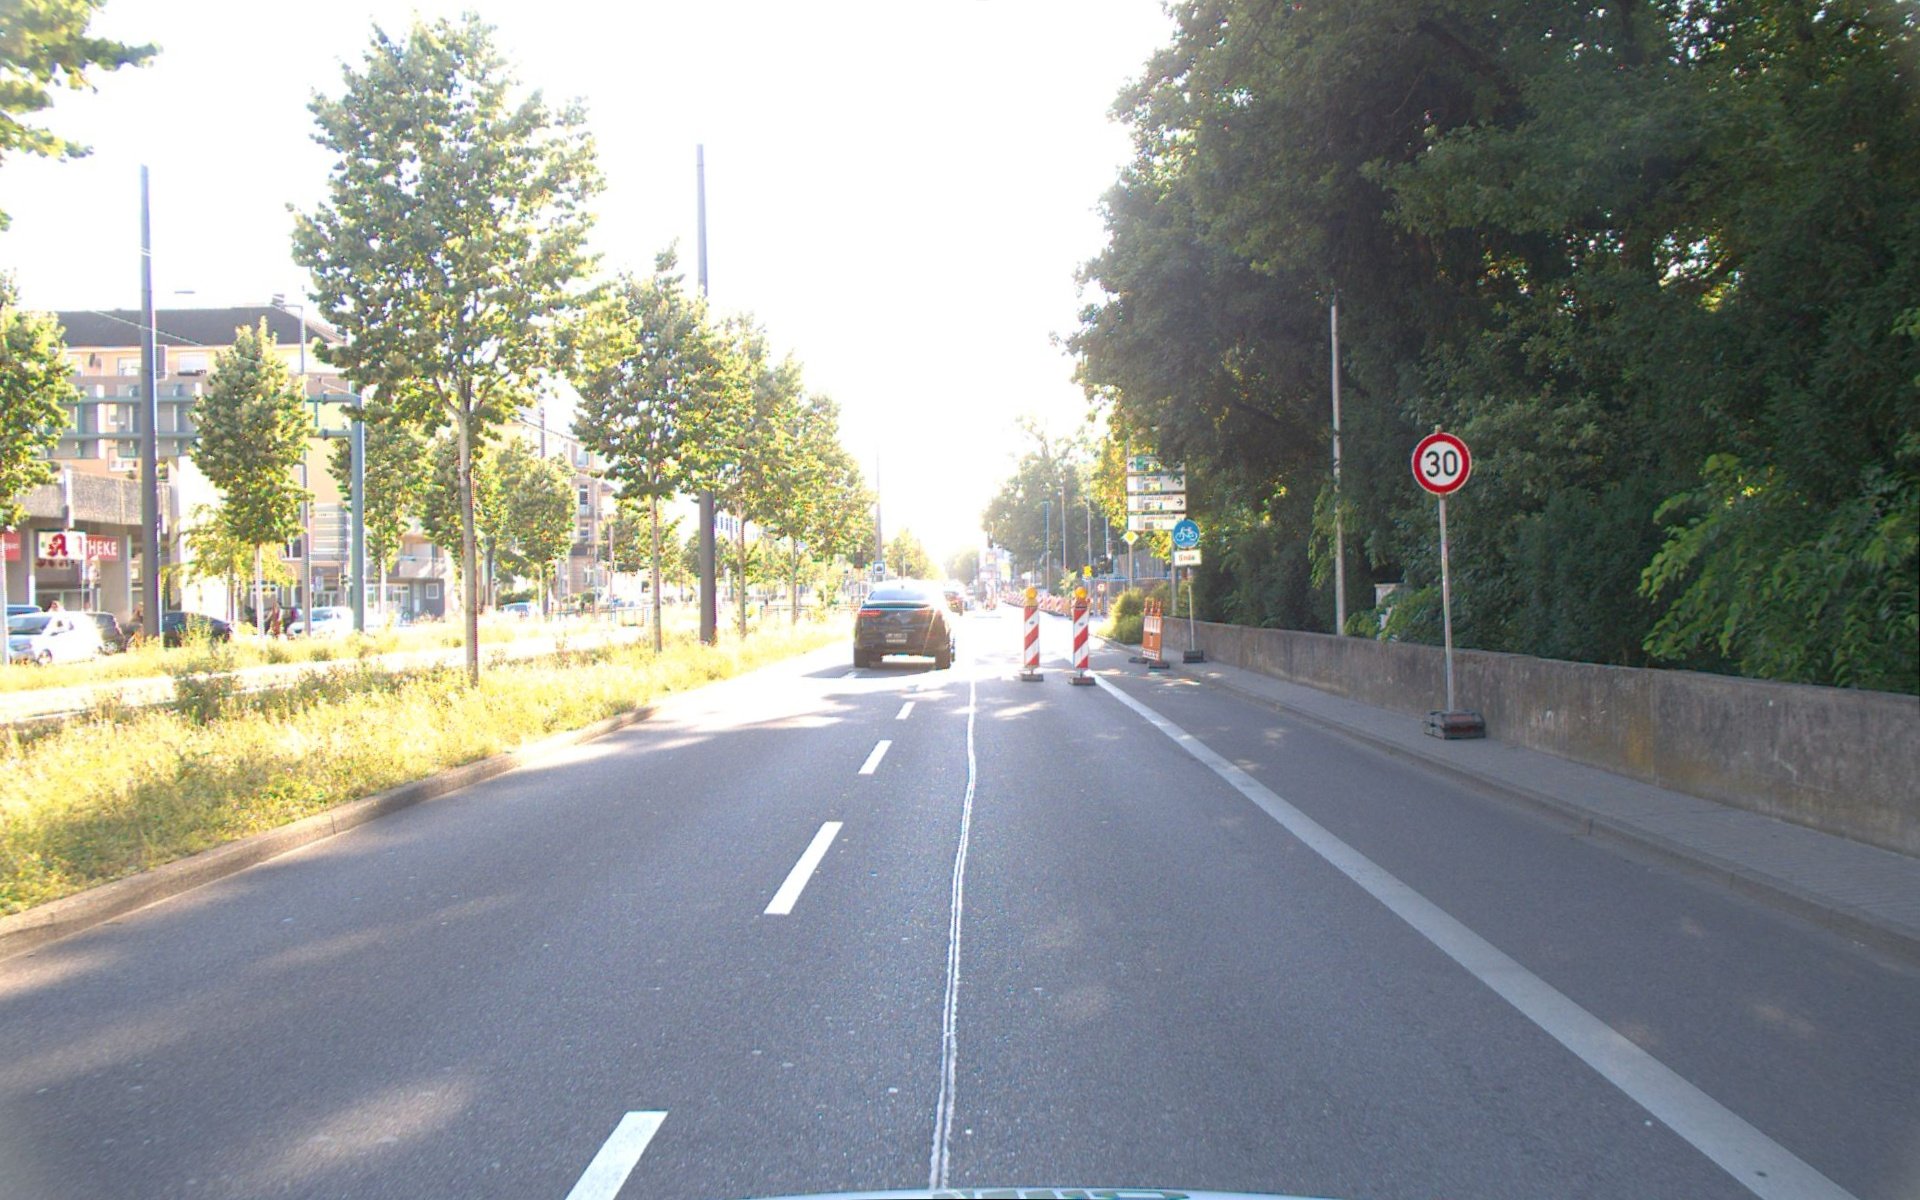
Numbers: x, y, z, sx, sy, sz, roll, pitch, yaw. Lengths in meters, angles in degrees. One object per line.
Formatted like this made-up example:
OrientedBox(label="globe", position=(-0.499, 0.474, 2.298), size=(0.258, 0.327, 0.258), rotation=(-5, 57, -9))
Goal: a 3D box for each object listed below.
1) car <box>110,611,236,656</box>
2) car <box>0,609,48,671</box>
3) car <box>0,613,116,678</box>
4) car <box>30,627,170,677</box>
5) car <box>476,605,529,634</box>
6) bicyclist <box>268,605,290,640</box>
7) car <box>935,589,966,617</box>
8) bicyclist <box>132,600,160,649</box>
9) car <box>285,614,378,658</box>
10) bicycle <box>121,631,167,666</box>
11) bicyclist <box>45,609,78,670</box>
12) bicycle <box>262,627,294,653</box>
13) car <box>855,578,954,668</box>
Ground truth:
OrientedBox(label="car", position=(-29.697, 1.232, 62.450), size=(3.965, 1.590, 1.970), rotation=(0, 0, -42))
OrientedBox(label="car", position=(-30.306, 1.225, 50.852), size=(3.723, 1.861, 1.799), rotation=(0, 0, -40))
OrientedBox(label="car", position=(-23.860, 1.133, 42.838), size=(1.846, 1.541, 4.001), rotation=(0, 0, 2))
OrientedBox(label="car", position=(-30.188, 1.805, 58.117), size=(1.965, 1.601, 3.976), rotation=(0, 0, 42))
OrientedBox(label="car", position=(-24.243, 1.038, 87.785), size=(1.894, 1.421, 3.686), rotation=(-1, 0, -2))
OrientedBox(label="bicyclist", position=(-26.815, 0.880, 65.107), size=(0.580, 1.379, 0.759), rotation=(0, 0, -2))
OrientedBox(label="car", position=(-0.584, 0.165, 102.105), size=(1.847, 1.608, 4.000), rotation=(0, 1, 0))
OrientedBox(label="bicyclist", position=(-26.276, 0.795, 53.386), size=(0.540, 1.571, 0.682), rotation=(0, 0, 1))
OrientedBox(label="car", position=(-23.713, 1.341, 62.532), size=(1.846, 1.541, 4.001), rotation=(0, 0, 2))
OrientedBox(label="bicycle", position=(-26.278, 1.566, 53.279), size=(0.543, 1.058, 1.791), rotation=(0, 0, 1))
OrientedBox(label="bicyclist", position=(-27.037, 1.186, 49.762), size=(0.529, 1.819, 0.858), rotation=(0, 0, -2))
OrientedBox(label="bicycle", position=(-26.826, 1.567, 65.073), size=(0.594, 0.980, 1.717), rotation=(0, 0, -2))
OrientedBox(label="car", position=(-1.183, 0.435, 34.625), size=(1.954, 1.765, 3.998), rotation=(0, 0, -3))
